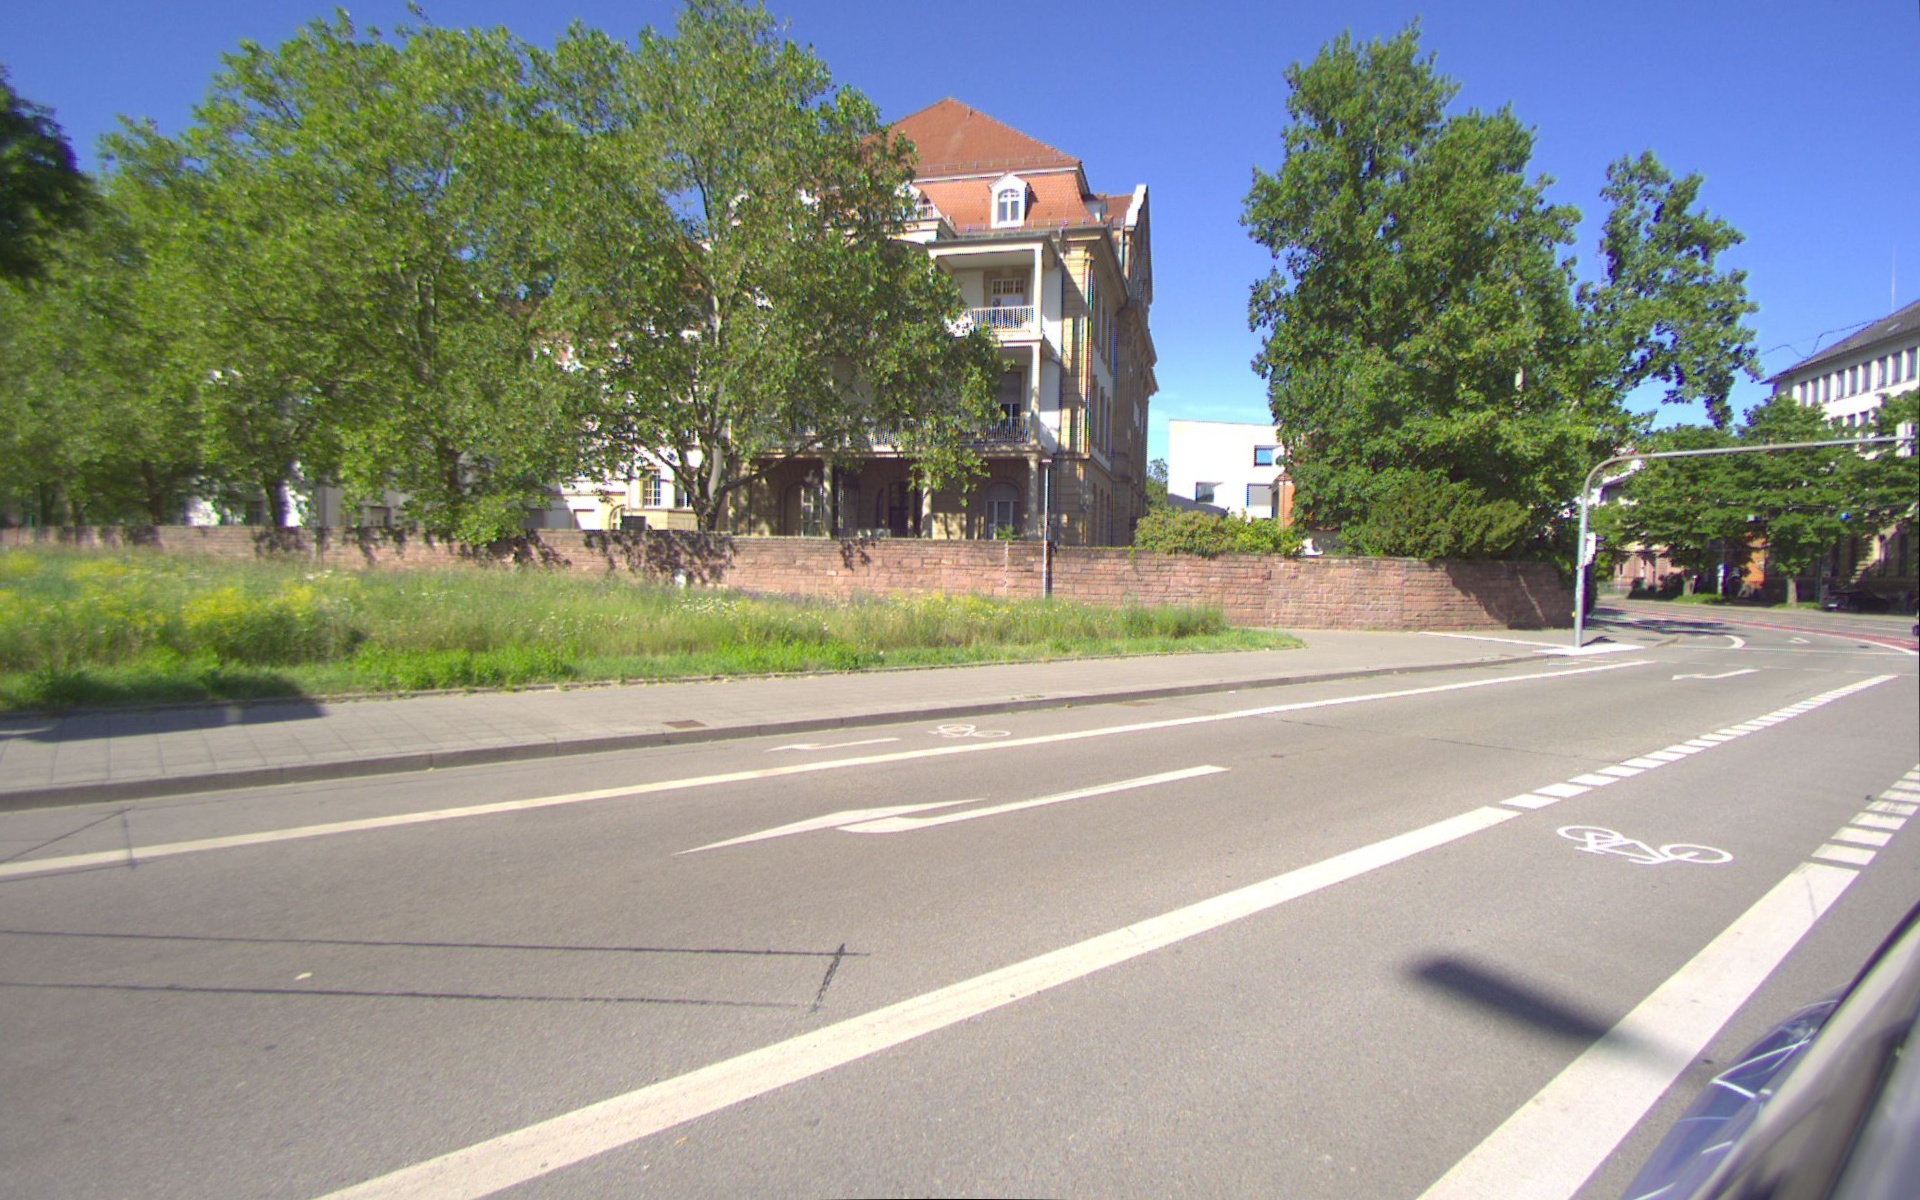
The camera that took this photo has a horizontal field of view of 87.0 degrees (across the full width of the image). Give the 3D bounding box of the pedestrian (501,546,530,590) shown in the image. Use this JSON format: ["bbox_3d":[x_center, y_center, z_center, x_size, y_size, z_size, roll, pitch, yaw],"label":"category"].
[{"bbox_3d":[-14.758,-1.049,33.604,0.516,1.461,0.721,0,0,20],"label":"pedestrian"}]

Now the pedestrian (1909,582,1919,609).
[{"bbox_3d":[63.301,-0.269,66.871,0.670,1.744,0.584,1,3,27],"label":"pedestrian"}]

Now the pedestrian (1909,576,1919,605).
[{"bbox_3d":[63.177,-0.608,66.887,0.514,1.916,0.360,1,1,16],"label":"pedestrian"}]

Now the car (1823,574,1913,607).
[{"bbox_3d":[61.206,-0.649,68.249,4.615,2.038,2.004,1,2,-9],"label":"car"}]
